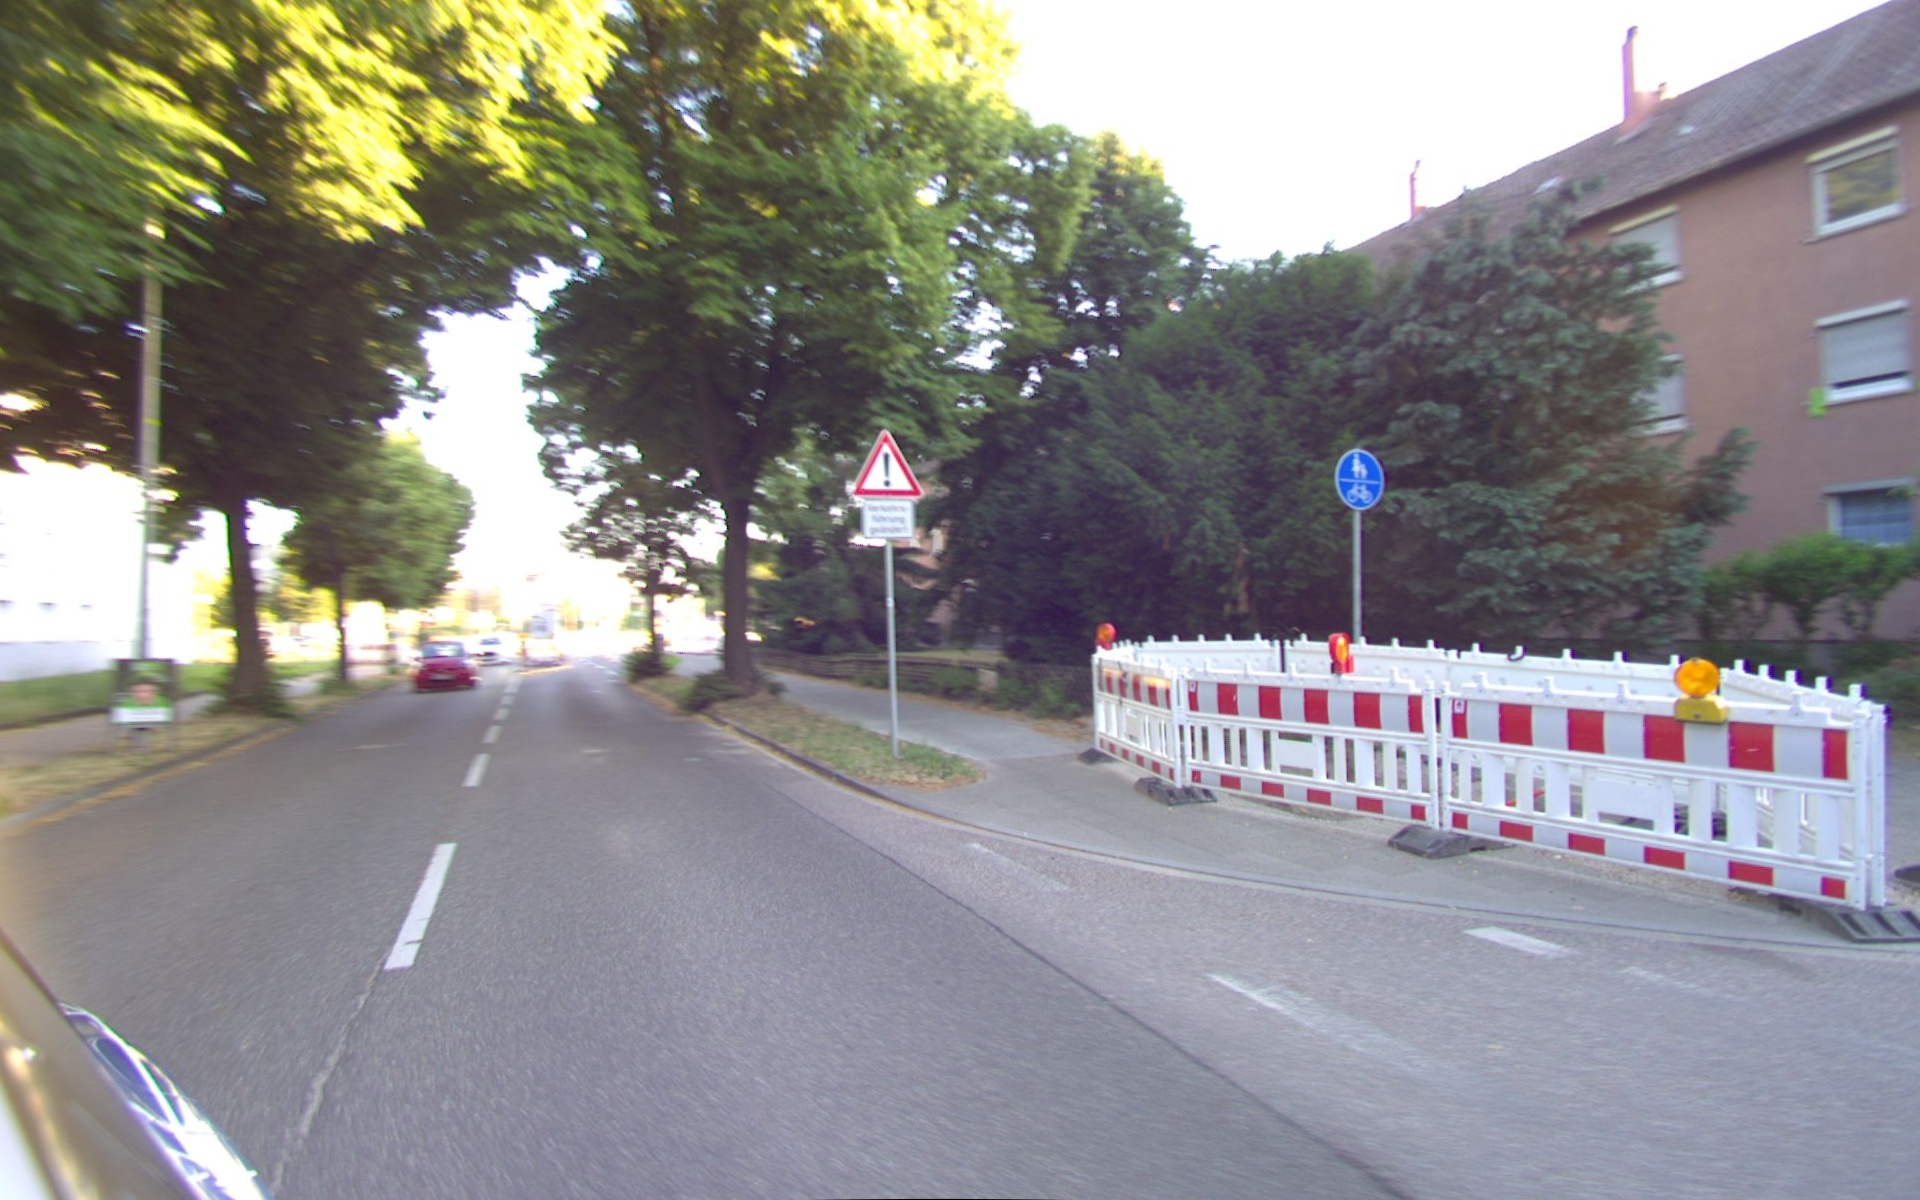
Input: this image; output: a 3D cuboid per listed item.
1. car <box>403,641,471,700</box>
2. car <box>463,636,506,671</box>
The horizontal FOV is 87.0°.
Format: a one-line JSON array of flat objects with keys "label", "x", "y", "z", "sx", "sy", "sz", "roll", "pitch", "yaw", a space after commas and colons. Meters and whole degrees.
[{"label": "car", "x": -15.402, "y": 2.019, "z": 29.963, "sx": 1.592, "sy": 1.423, "sz": 4.425, "roll": -2, "pitch": 0, "yaw": -25}, {"label": "car", "x": -24.959, "y": 2.775, "z": 53.273, "sx": 1.760, "sy": 1.569, "sz": 4.424, "roll": -2, "pitch": 0, "yaw": -22}]
